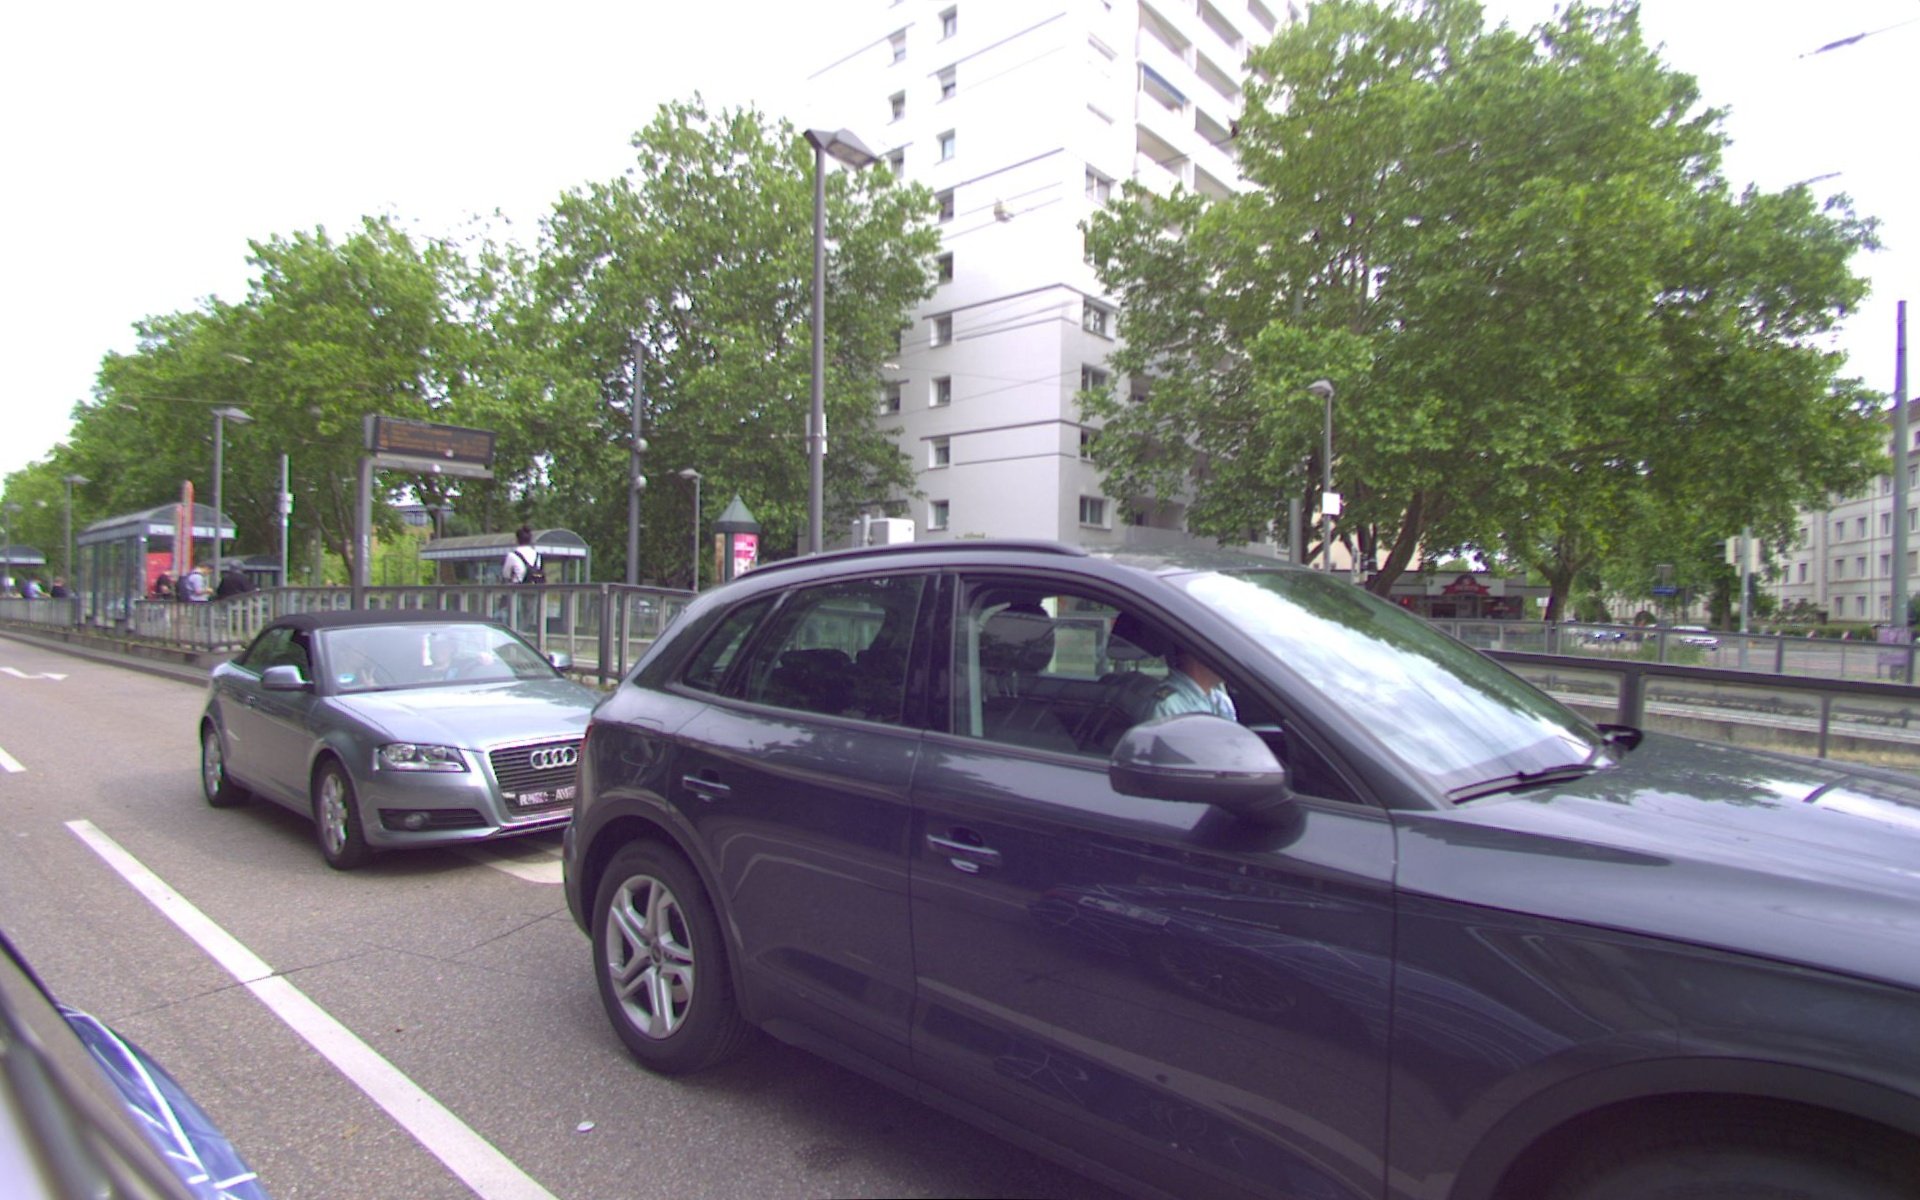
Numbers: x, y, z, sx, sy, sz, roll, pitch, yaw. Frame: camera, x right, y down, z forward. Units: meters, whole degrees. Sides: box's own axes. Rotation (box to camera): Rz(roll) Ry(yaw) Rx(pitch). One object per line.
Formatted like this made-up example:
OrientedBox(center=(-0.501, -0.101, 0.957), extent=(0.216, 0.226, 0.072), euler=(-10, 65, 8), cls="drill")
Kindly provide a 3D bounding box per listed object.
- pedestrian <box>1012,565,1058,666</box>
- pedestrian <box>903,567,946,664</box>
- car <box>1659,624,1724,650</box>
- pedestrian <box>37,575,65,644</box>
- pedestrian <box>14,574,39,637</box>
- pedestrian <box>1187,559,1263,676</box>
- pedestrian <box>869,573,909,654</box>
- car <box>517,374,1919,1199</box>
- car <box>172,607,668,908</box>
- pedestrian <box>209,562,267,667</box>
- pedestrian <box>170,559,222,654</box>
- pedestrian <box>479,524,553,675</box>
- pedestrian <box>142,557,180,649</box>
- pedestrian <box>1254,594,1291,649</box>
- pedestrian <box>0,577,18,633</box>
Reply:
OrientedBox(center=(1.337, 0.266, 17.931), extent=(0.548, 1.764, 0.614), euler=(0, 0, 42), cls="pedestrian")
OrientedBox(center=(-0.673, 0.281, 19.160), extent=(0.534, 1.803, 0.614), euler=(0, 0, 42), cls="pedestrian")
OrientedBox(center=(43.718, 2.185, 60.587), extent=(1.744, 1.431, 3.982), euler=(1, -1, 14), cls="car")
OrientedBox(center=(-27.620, 0.289, 30.744), extent=(0.822, 2.066, 0.577), euler=(0, 0, 45), cls="pedestrian")
OrientedBox(center=(-31.452, 0.180, 34.094), extent=(0.822, 2.066, 0.577), euler=(0, 0, 45), cls="pedestrian")
OrientedBox(center=(4.022, 0.252, 15.356), extent=(0.878, 1.708, 0.733), euler=(0, 0, 42), cls="pedestrian")
OrientedBox(center=(-1.485, 0.276, 21.267), extent=(0.565, 1.681, 0.614), euler=(0, 0, 42), cls="pedestrian")
OrientedBox(center=(0.726, 0.562, 2.764), extent=(4.366, 1.659, 1.892), euler=(0, 0, 41), cls="car")
OrientedBox(center=(-3.765, 0.756, 6.729), extent=(4.012, 1.385, 1.616), euler=(0, 0, 41), cls="car")
OrientedBox(center=(-12.650, 0.252, 17.747), extent=(0.652, 1.805, 0.535), euler=(0, 0, -9), cls="pedestrian")
OrientedBox(center=(-14.826, 0.118, 19.636), extent=(0.822, 1.805, 0.674), euler=(0, 0, 44), cls="pedestrian")
OrientedBox(center=(-5.375, -0.003, 12.250), extent=(0.534, 1.764, 0.654), euler=(0, 0, 42), cls="pedestrian")
OrientedBox(center=(-18.208, 0.066, 23.069), extent=(0.822, 2.066, 0.577), euler=(0, 0, 45), cls="pedestrian")
OrientedBox(center=(8.879, 0.603, 28.735), extent=(0.854, 1.520, 0.546), euler=(0, 0, 45), cls="pedestrian")
OrientedBox(center=(-35.128, 0.179, 37.290), extent=(0.822, 2.066, 0.577), euler=(0, 0, 45), cls="pedestrian")
